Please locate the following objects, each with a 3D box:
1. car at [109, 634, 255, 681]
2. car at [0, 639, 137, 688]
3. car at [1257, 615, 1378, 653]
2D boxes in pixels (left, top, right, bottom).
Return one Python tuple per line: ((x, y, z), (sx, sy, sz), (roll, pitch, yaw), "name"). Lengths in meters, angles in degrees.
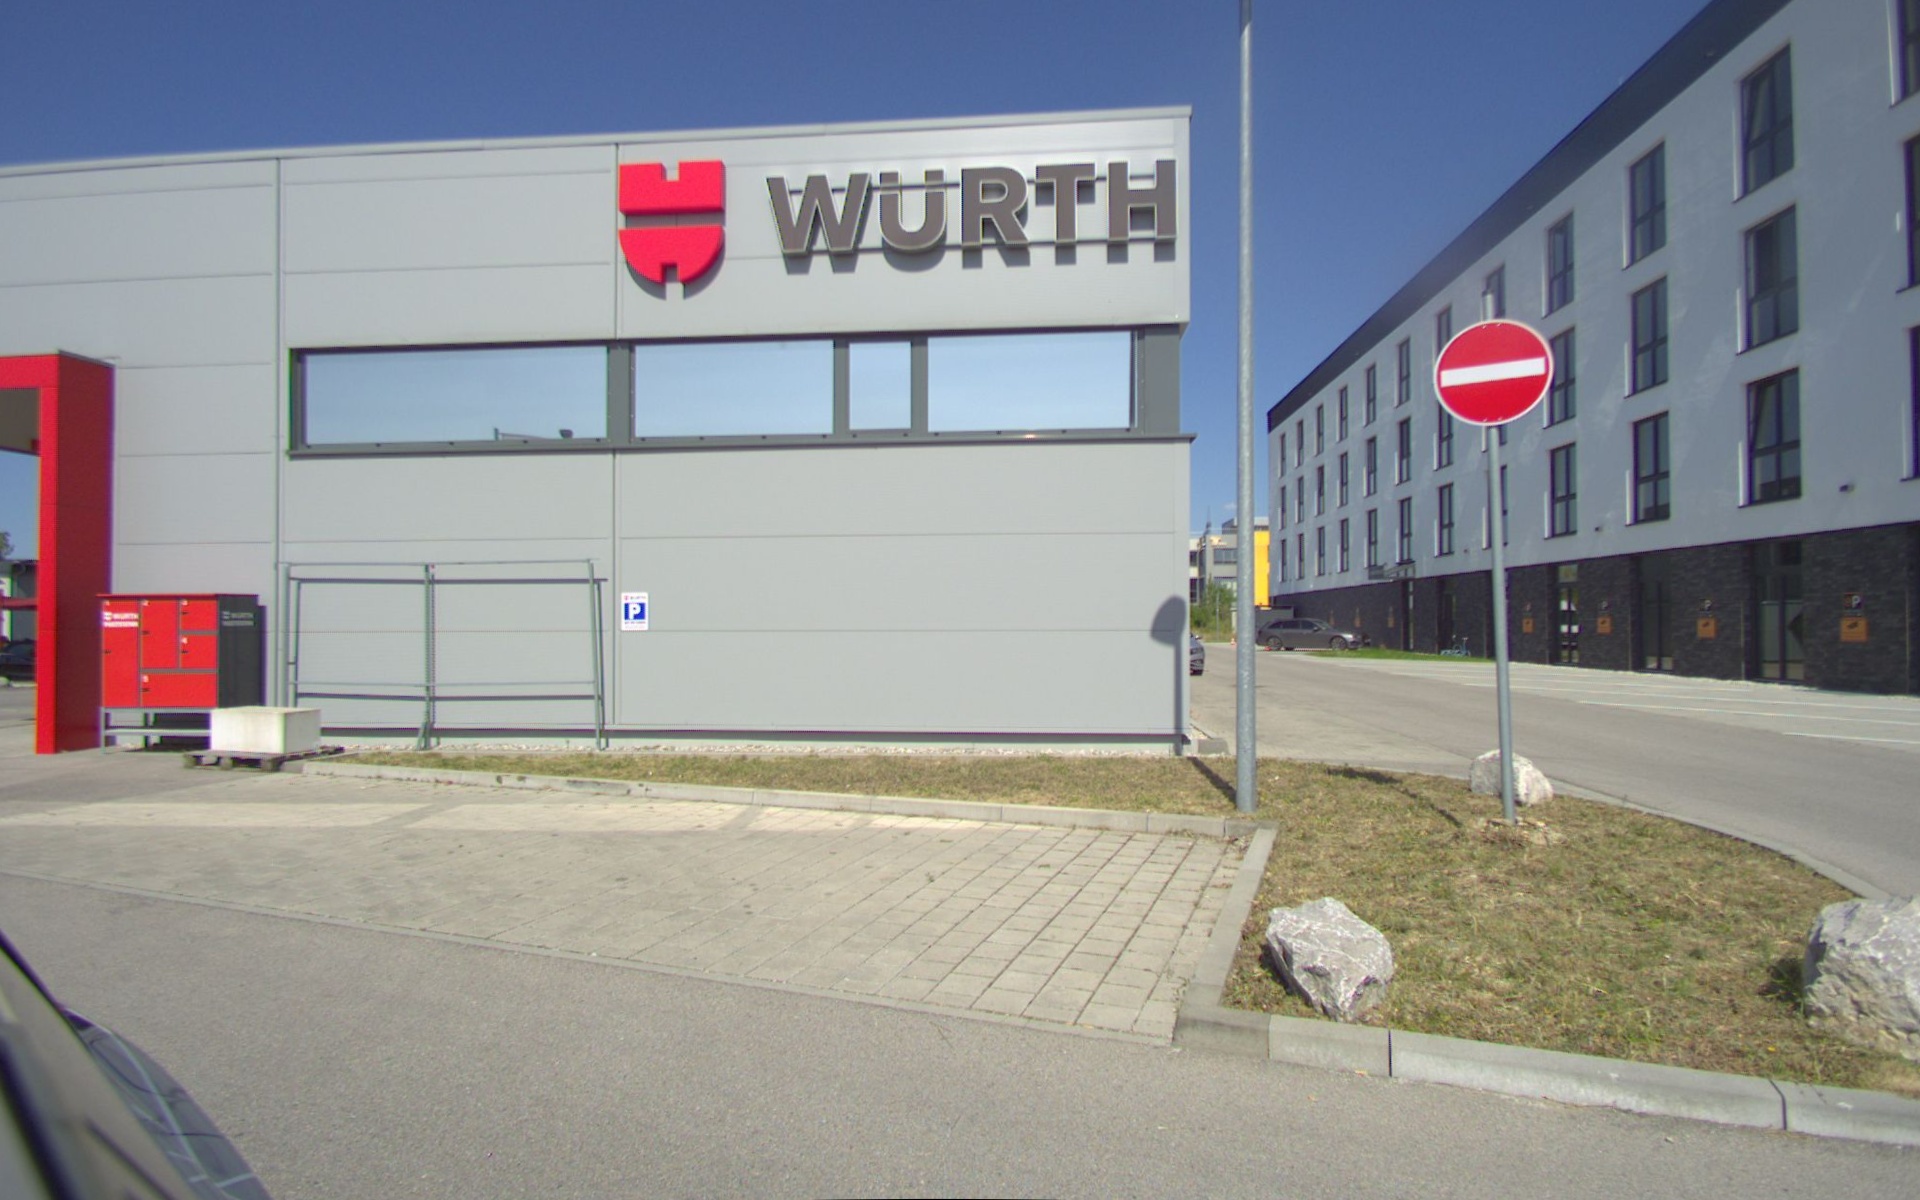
((-26.472, 1.942, 34.469), (3.870, 1.486, 1.798), (-1, -2, 9), "car")
((-26.824, 1.842, 29.626), (4.100, 1.348, 1.828), (-1, -2, 4), "car")
((15.215, 1.464, 43.206), (4.523, 1.519, 1.854), (-2, -2, 41), "car")
